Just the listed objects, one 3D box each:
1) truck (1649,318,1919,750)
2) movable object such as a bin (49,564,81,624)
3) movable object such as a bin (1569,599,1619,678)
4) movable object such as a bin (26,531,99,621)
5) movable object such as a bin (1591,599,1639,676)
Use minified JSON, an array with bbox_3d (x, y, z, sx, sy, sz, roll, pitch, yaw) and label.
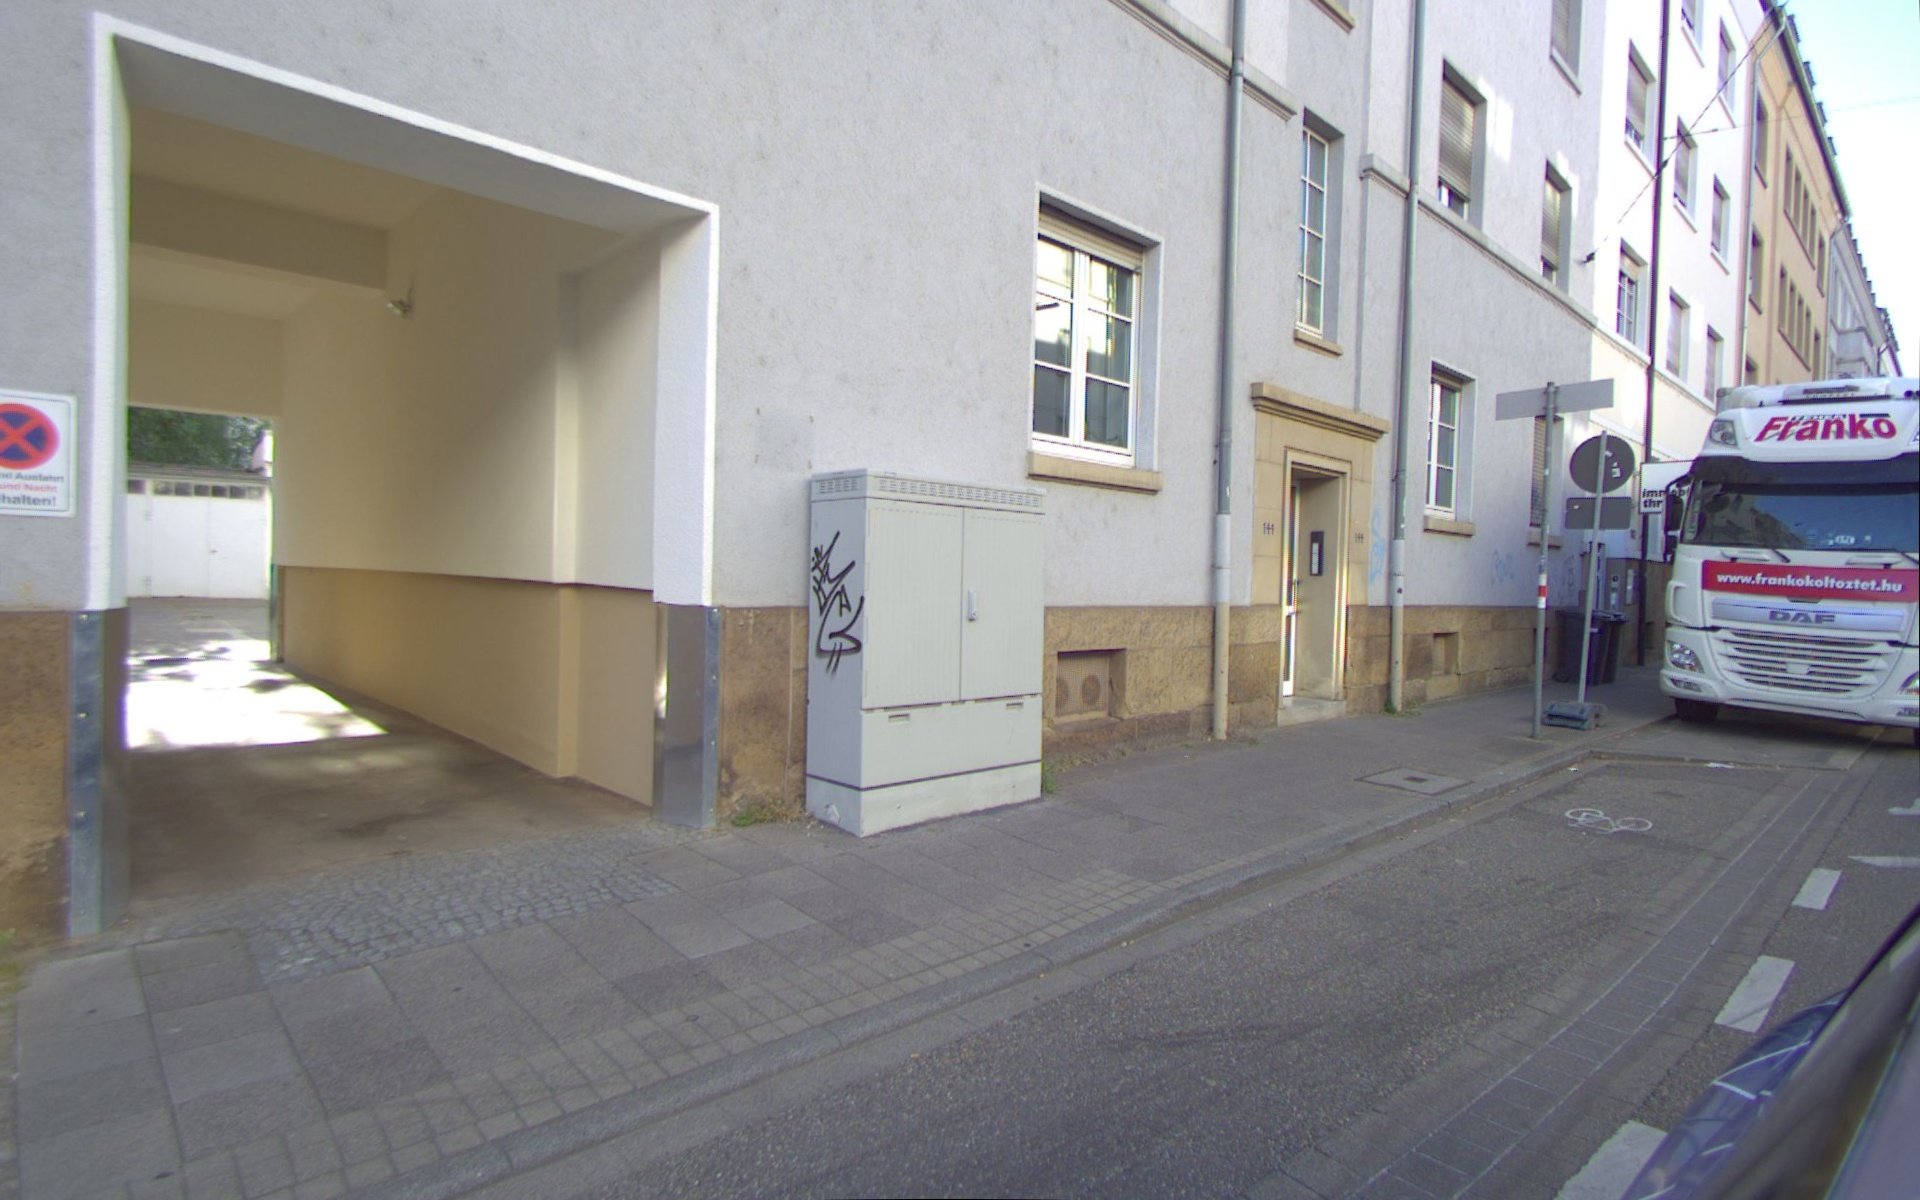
[{"bbox_3d":[12.601,-0.608,13.866,11.511,4.012,2.894,0,0,-44],"label":"truck"},{"bbox_3d":[-14.257,-0.102,16.121,0.366,0.919,0.420,0,3,-44],"label":"movable object such as a bin"},{"bbox_3d":[9.129,0.544,14.572,0.511,1.106,0.488,0,0,45],"label":"movable object such as a bin"},{"bbox_3d":[-14.747,-0.404,16.625,0.874,1.409,0.758,0,4,-44],"label":"movable object such as a bin"},{"bbox_3d":[9.657,0.544,14.926,0.511,1.106,0.488,0,0,45],"label":"movable object such as a bin"}]
